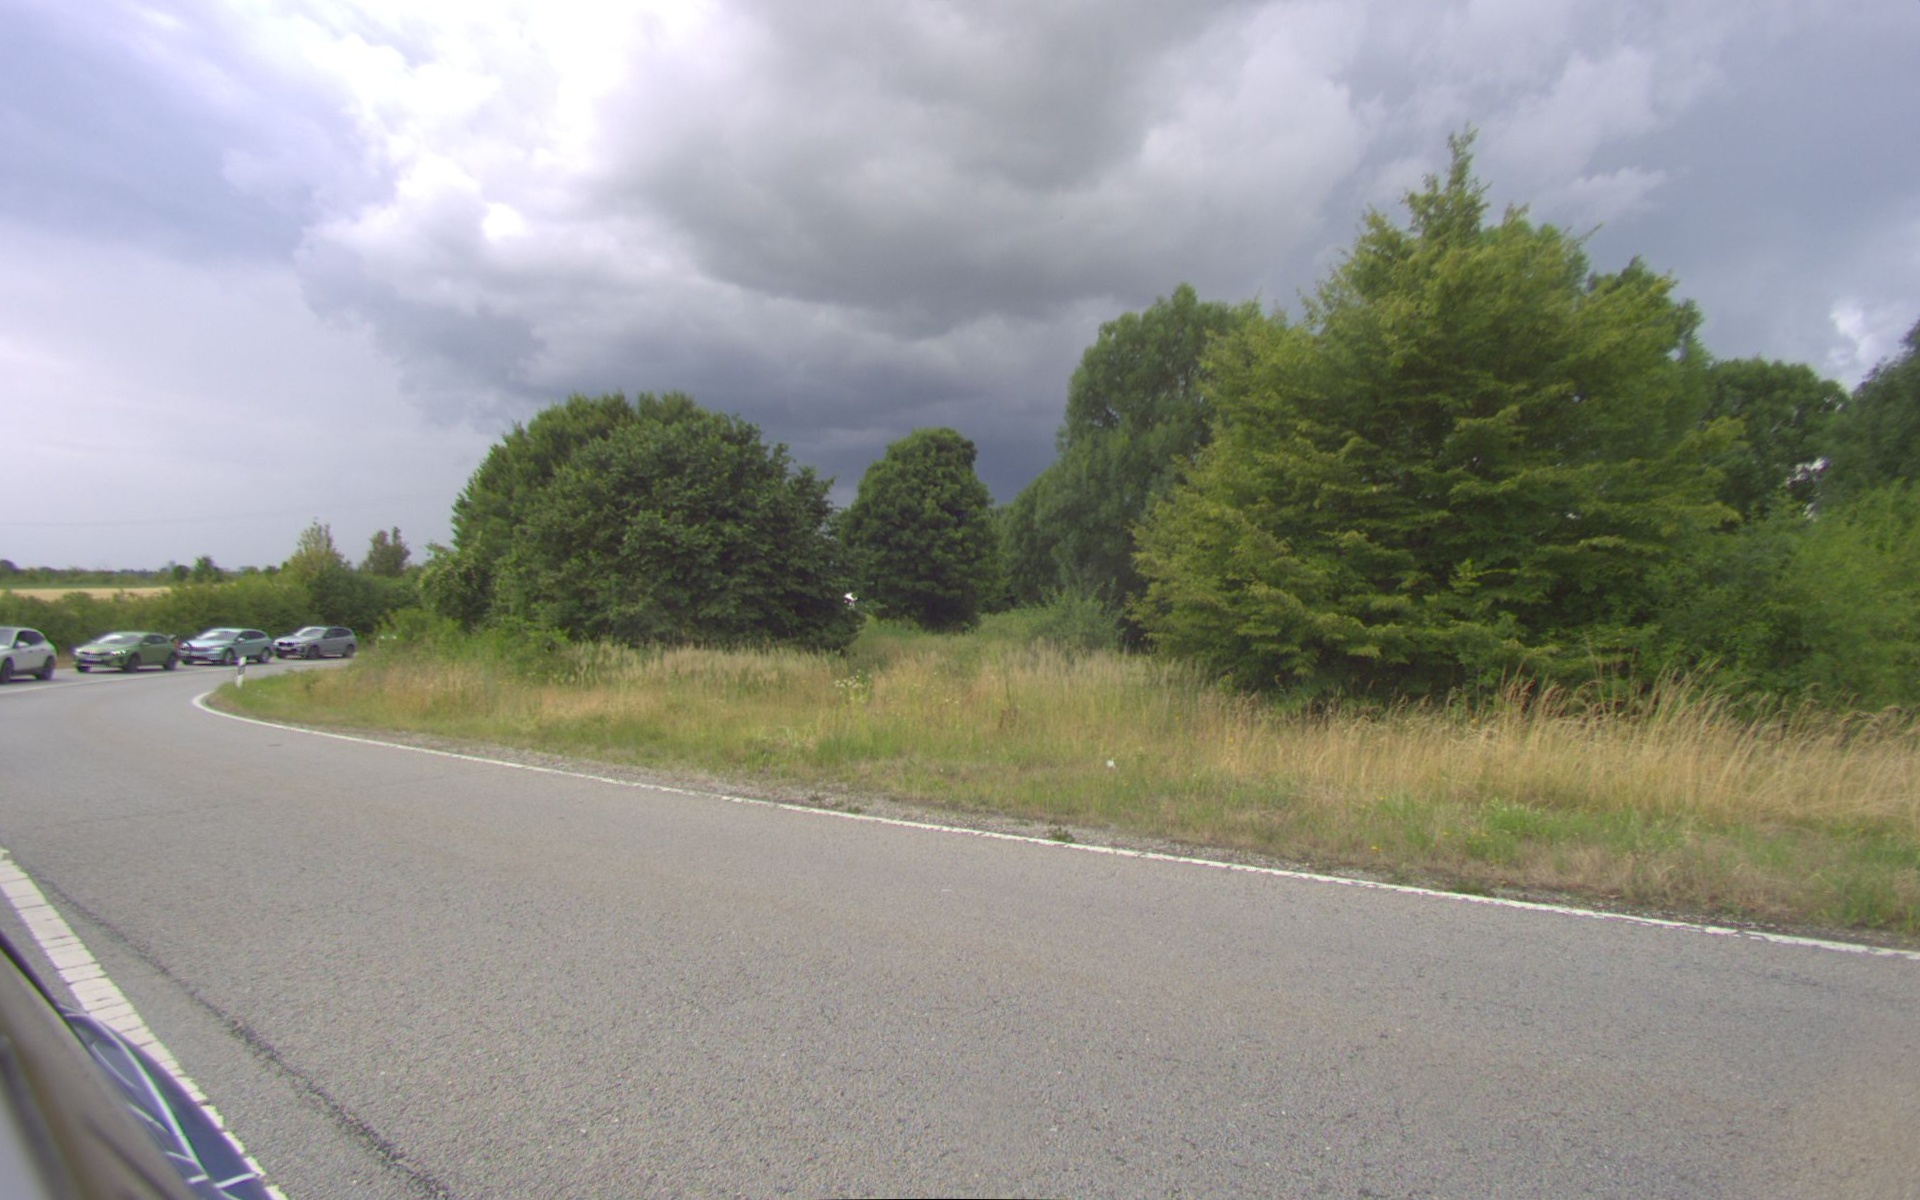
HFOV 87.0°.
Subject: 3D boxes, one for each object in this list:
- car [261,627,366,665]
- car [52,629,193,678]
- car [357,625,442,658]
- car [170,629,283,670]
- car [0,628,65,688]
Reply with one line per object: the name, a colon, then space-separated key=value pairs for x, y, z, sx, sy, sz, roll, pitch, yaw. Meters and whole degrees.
car: x=-34.133 y=2.367 z=53.634 sx=1.974 sy=1.732 sz=5.202 roll=2 pitch=0 yaw=4
car: x=-32.368 y=2.041 z=39.352 sx=1.967 sy=1.733 sz=5.220 roll=2 pitch=-2 yaw=-12
car: x=-34.015 y=2.482 z=61.601 sx=1.974 sy=1.732 sz=5.202 roll=2 pitch=0 yaw=4
car: x=-33.660 y=2.243 z=46.669 sx=1.968 sy=1.733 sz=5.217 roll=2 pitch=-2 yaw=-8
car: x=-29.920 y=1.755 z=31.162 sx=1.965 sy=1.733 sz=5.225 roll=2 pitch=-3 yaw=-24
